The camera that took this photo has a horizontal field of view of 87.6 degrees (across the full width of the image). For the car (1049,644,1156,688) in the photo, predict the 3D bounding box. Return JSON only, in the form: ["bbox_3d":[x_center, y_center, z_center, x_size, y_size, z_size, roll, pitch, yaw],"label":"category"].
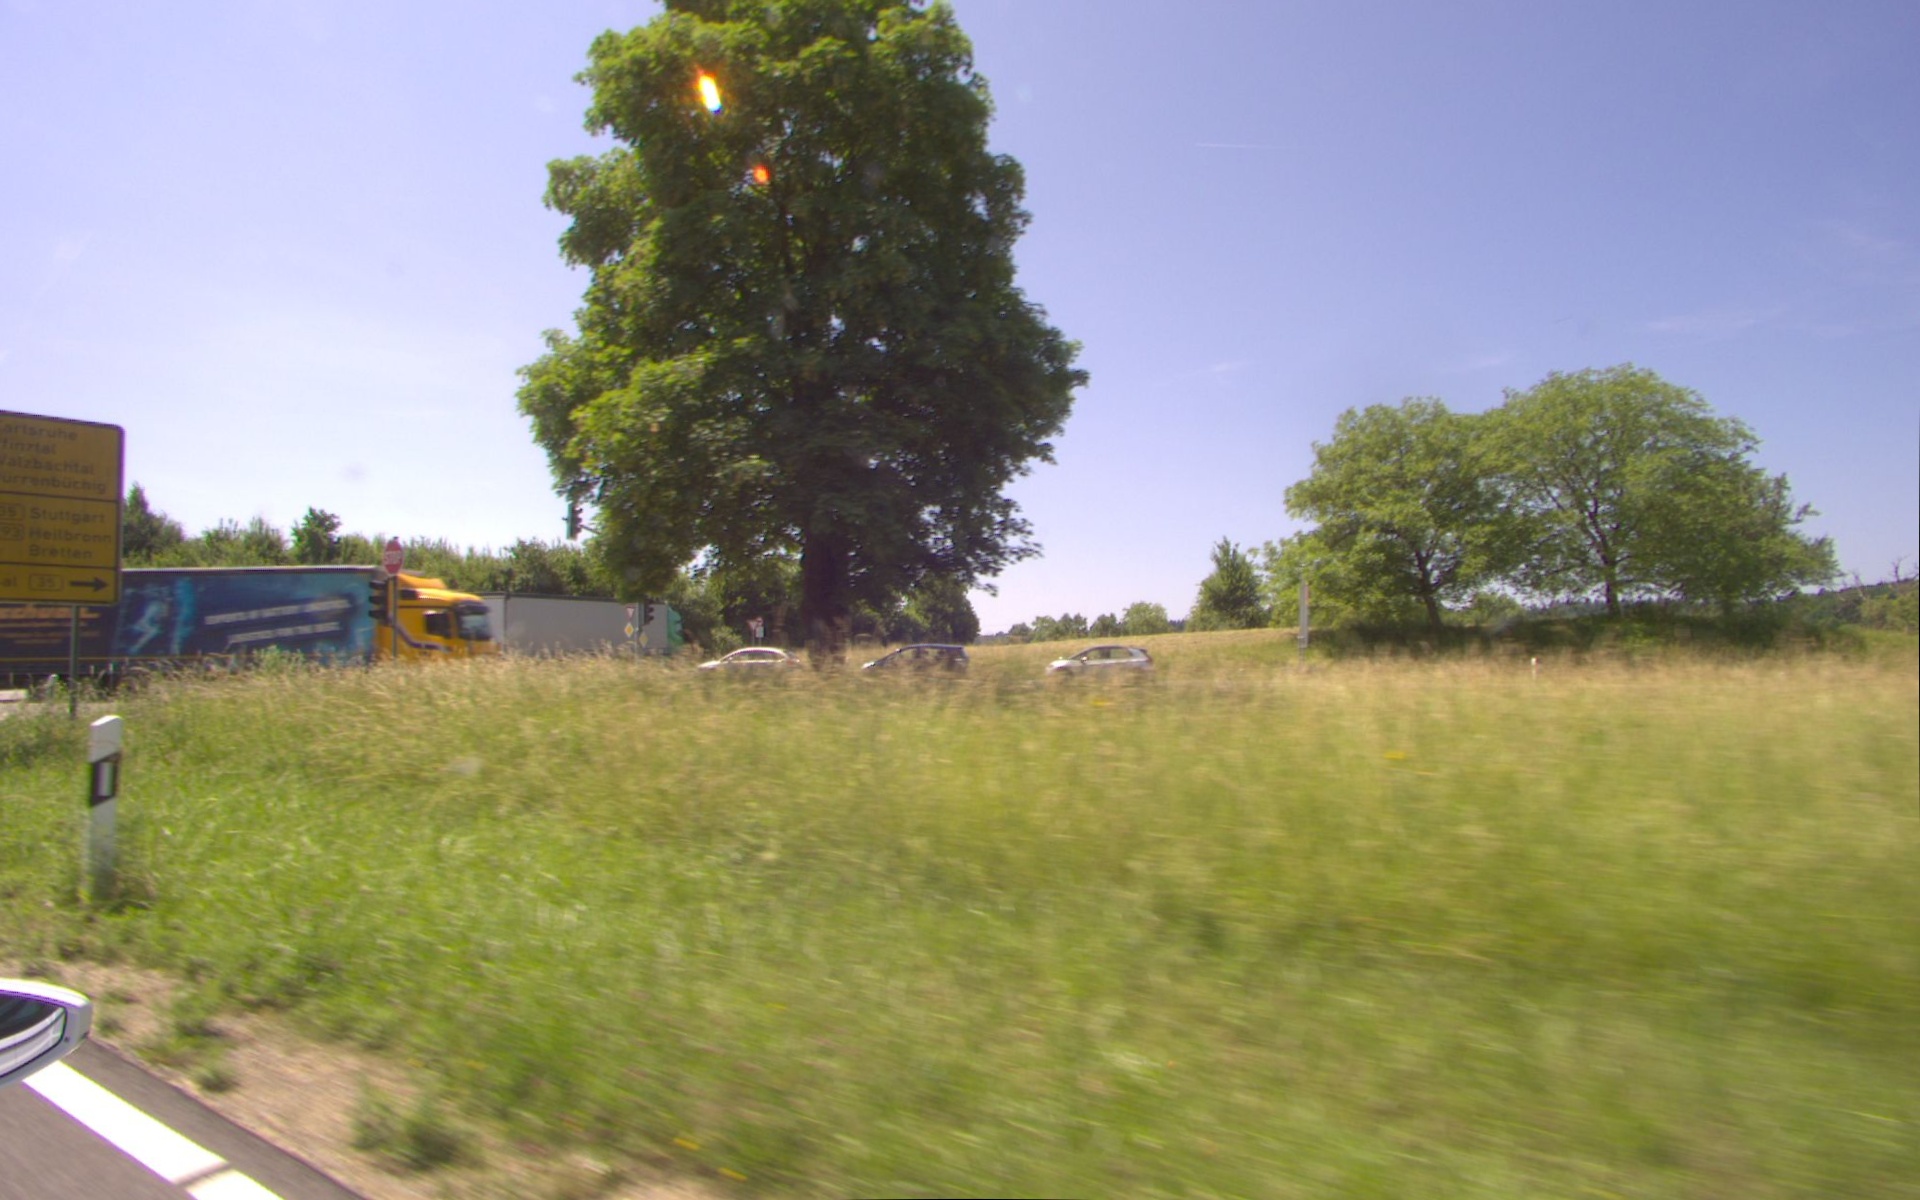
[{"bbox_3d":[5.366,2.468,37.849,3.944,1.573,1.655,0,-1,8],"label":"car"}]

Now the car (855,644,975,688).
[{"bbox_3d":[-1.675,2.494,38.040,4.298,1.573,1.729,0,-1,8],"label":"car"}]

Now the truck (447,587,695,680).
[{"bbox_3d":[-20.006,1.803,53.896,3.078,4.226,16.672,-1,-2,15],"label":"truck"}]

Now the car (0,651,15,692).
[{"bbox_3d":[-36.428,2.580,35.648,3.710,1.431,1.819,0,-2,-4],"label":"car"}]

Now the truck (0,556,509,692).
[{"bbox_3d":[-23.525,0.809,32.518,16.483,4.183,2.853,0,-2,1],"label":"truck"}]

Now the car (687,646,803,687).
[{"bbox_3d":[-8.294,2.546,38.842,4.089,1.489,1.730,0,-1,5],"label":"car"}]
